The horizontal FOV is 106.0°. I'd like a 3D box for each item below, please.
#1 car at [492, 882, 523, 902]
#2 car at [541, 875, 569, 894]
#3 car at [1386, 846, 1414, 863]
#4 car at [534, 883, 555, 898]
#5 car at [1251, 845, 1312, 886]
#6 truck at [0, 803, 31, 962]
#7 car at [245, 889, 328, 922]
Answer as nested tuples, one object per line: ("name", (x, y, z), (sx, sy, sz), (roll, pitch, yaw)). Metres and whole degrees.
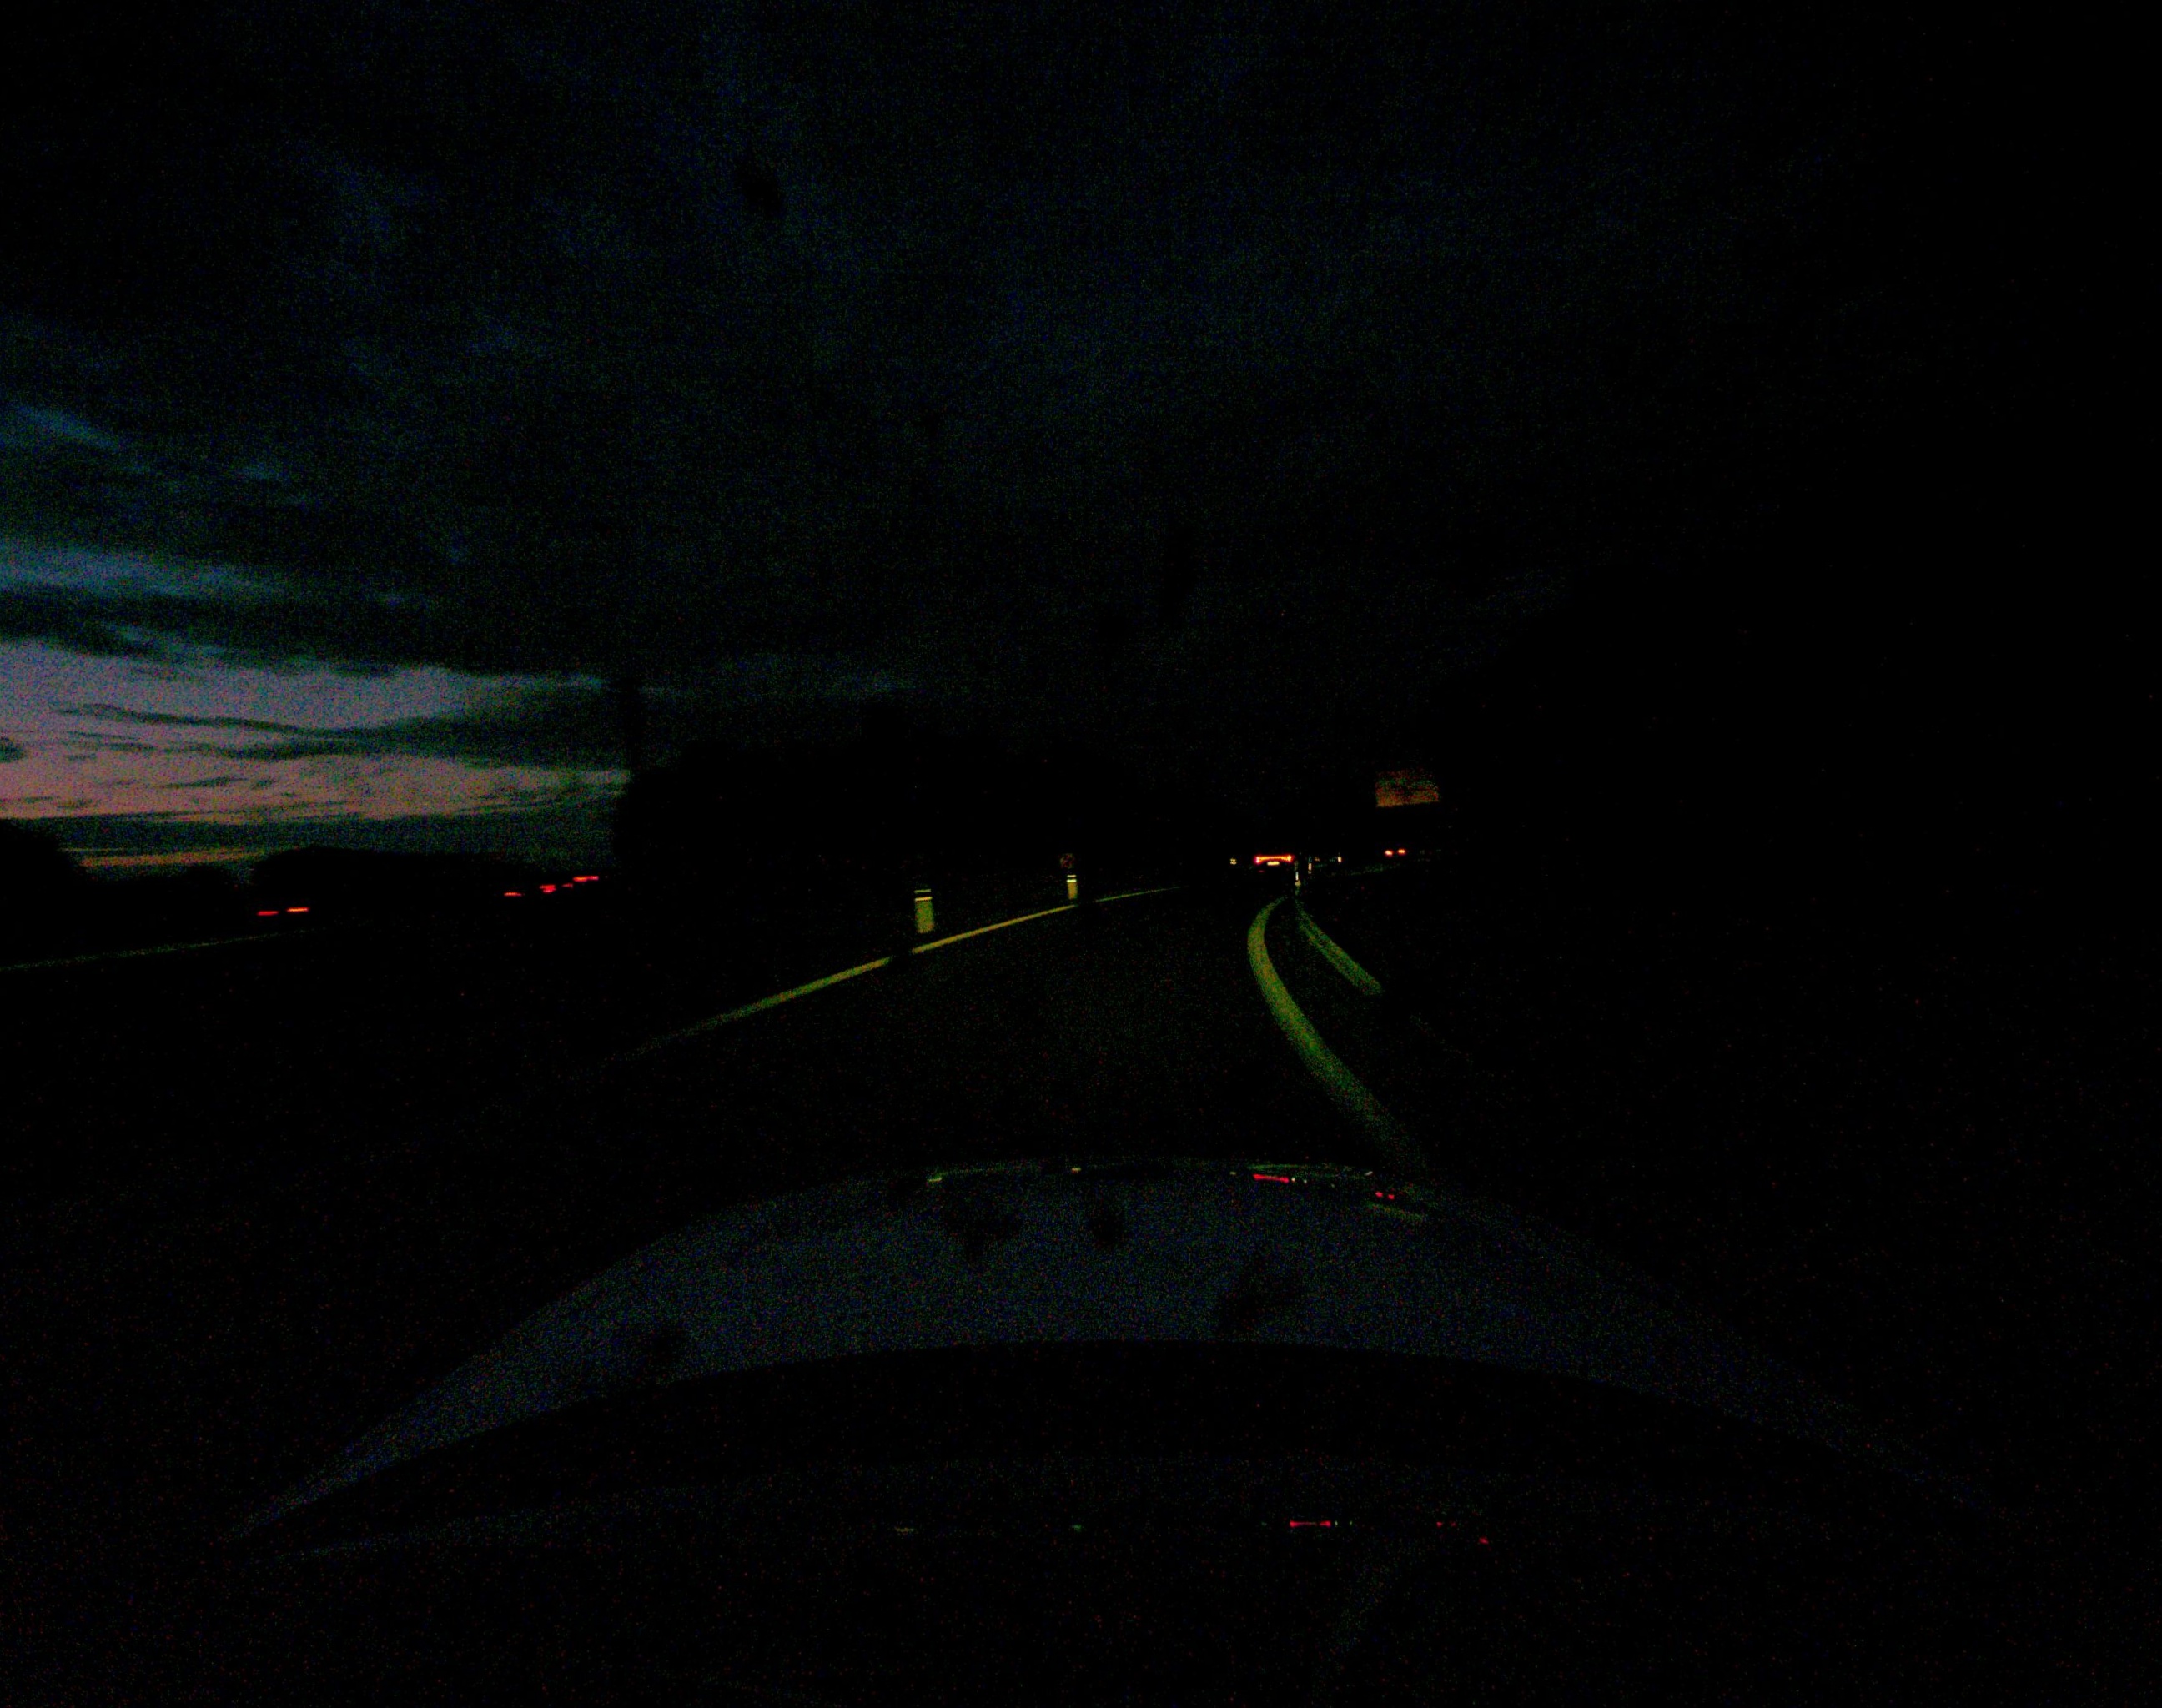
("car", (-67.334, 4.479, 95.647), (2.003, 2.013, 3.968), (-6, 1, -24))
("car", (-62.618, 3.566, 97.101), (2.275, 2.013, 5.098), (-4, 1, -28))
("car", (30.975, 0.026, 79.089), (1.974, 1.598, 4.025), (-2, 0, 29))
("car", (-87.567, 5.961, 133.049), (2.003, 2.013, 3.969), (-7, 2, -23))
("car", (9.312, 0.570, 37.584), (1.976, 1.659, 4.337), (-5, -3, 22))
("truck", (-26.682, 0.772, 17.231), (2.795, 3.901, 6.100), (-7, 2, -27))
("car", (-47.091, 3.021, 48.405), (2.004, 1.498, 4.511), (-6, 2, -24))
